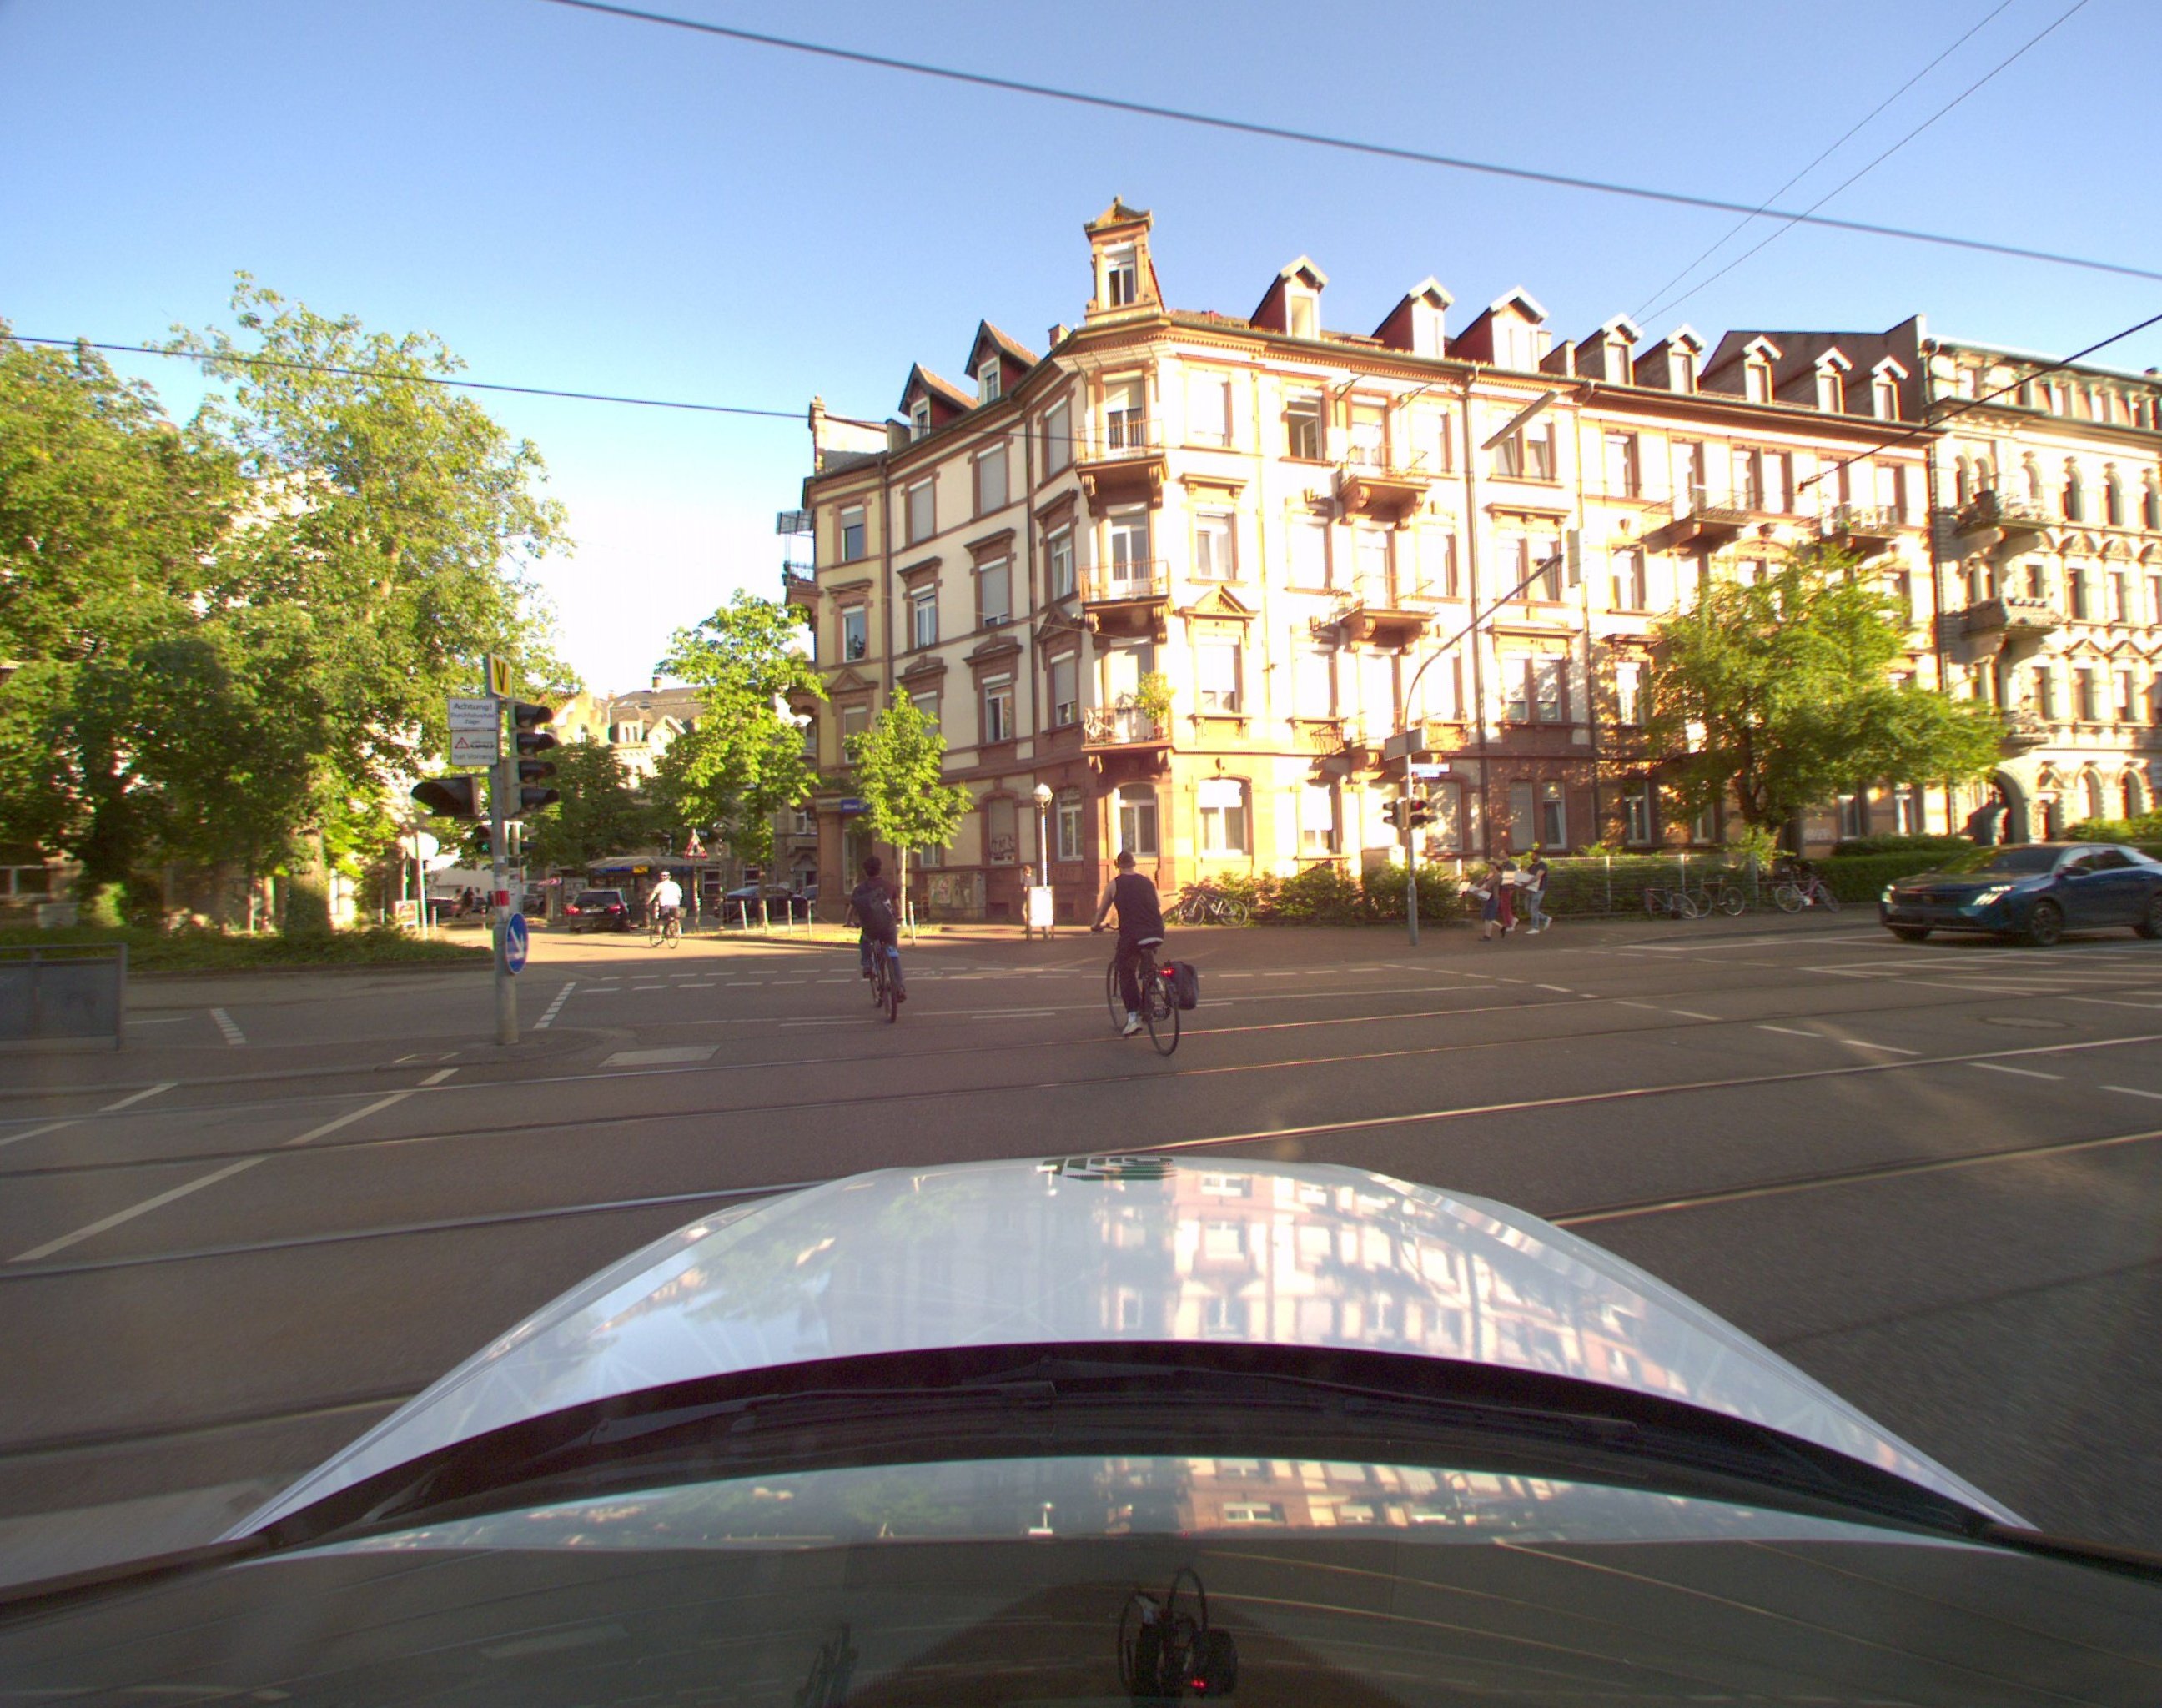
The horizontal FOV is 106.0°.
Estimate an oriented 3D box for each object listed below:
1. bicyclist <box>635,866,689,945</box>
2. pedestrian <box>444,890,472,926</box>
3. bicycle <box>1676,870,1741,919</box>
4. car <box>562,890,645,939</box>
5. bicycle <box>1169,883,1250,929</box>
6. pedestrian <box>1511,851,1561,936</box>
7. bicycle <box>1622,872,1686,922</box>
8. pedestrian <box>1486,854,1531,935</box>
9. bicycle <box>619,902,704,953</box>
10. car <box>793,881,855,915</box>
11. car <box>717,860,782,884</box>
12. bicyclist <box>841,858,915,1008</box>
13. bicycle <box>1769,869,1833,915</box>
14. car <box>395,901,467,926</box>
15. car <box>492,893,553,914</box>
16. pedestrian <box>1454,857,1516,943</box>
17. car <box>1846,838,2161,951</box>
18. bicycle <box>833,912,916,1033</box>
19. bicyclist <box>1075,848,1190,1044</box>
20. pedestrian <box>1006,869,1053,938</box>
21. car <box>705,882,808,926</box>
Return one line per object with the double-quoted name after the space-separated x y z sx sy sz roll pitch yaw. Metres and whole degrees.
-10.456 1.260 20.333 0.933 1.913 0.802 -2 -2 31 "bicyclist"
-31.309 2.712 40.936 0.876 1.750 0.718 -2 -2 8 "pedestrian"
14.868 0.957 19.302 1.228 1.107 0.442 -2 -1 -8 "bicycle"
-16.757 2.061 28.764 1.795 1.542 3.834 0 -2 -19 "car"
3.228 1.302 20.496 1.943 1.107 0.445 -1 -1 21 "bicycle"
9.543 0.815 17.090 0.632 1.715 0.664 -2 0 0 "pedestrian"
13.458 0.993 19.139 1.228 1.107 0.442 -2 -1 -8 "bicycle"
9.315 0.870 17.752 0.632 1.715 0.521 -2 -2 0 "pedestrian"
-10.493 1.821 20.350 2.198 1.185 0.817 -3 -2 31 "bicycle"
-12.141 2.061 38.647 1.492 1.458 3.215 -2 -1 9 "car"
-23.984 1.309 58.941 3.962 1.647 1.884 -2 -1 10 "car"
-2.265 0.854 9.188 0.707 1.573 0.954 -1 -2 -10 "bicyclist"
17.430 0.912 19.728 1.229 1.038 0.442 -2 -1 -9 "bicycle"
-42.490 3.883 53.266 3.538 1.499 1.676 -2 -3 10 "car"
-41.813 3.676 60.985 3.538 1.499 1.676 -2 -3 10 "car"
8.201 0.921 16.565 0.891 1.665 0.713 -2 1 4 "pedestrian"
15.846 0.630 13.875 4.400 1.650 1.940 -1 -2 -13 "car"
-2.271 1.255 9.178 0.717 1.107 1.960 -1 -2 -9 "bicycle"
0.448 0.812 7.570 0.688 1.656 0.983 -2 -3 -18 "bicyclist"
-1.285 1.206 20.323 0.730 1.635 0.893 -1 0 -45 "pedestrian"
-13.252 2.001 33.579 1.779 1.611 4.383 -2 -2 12 "car"
